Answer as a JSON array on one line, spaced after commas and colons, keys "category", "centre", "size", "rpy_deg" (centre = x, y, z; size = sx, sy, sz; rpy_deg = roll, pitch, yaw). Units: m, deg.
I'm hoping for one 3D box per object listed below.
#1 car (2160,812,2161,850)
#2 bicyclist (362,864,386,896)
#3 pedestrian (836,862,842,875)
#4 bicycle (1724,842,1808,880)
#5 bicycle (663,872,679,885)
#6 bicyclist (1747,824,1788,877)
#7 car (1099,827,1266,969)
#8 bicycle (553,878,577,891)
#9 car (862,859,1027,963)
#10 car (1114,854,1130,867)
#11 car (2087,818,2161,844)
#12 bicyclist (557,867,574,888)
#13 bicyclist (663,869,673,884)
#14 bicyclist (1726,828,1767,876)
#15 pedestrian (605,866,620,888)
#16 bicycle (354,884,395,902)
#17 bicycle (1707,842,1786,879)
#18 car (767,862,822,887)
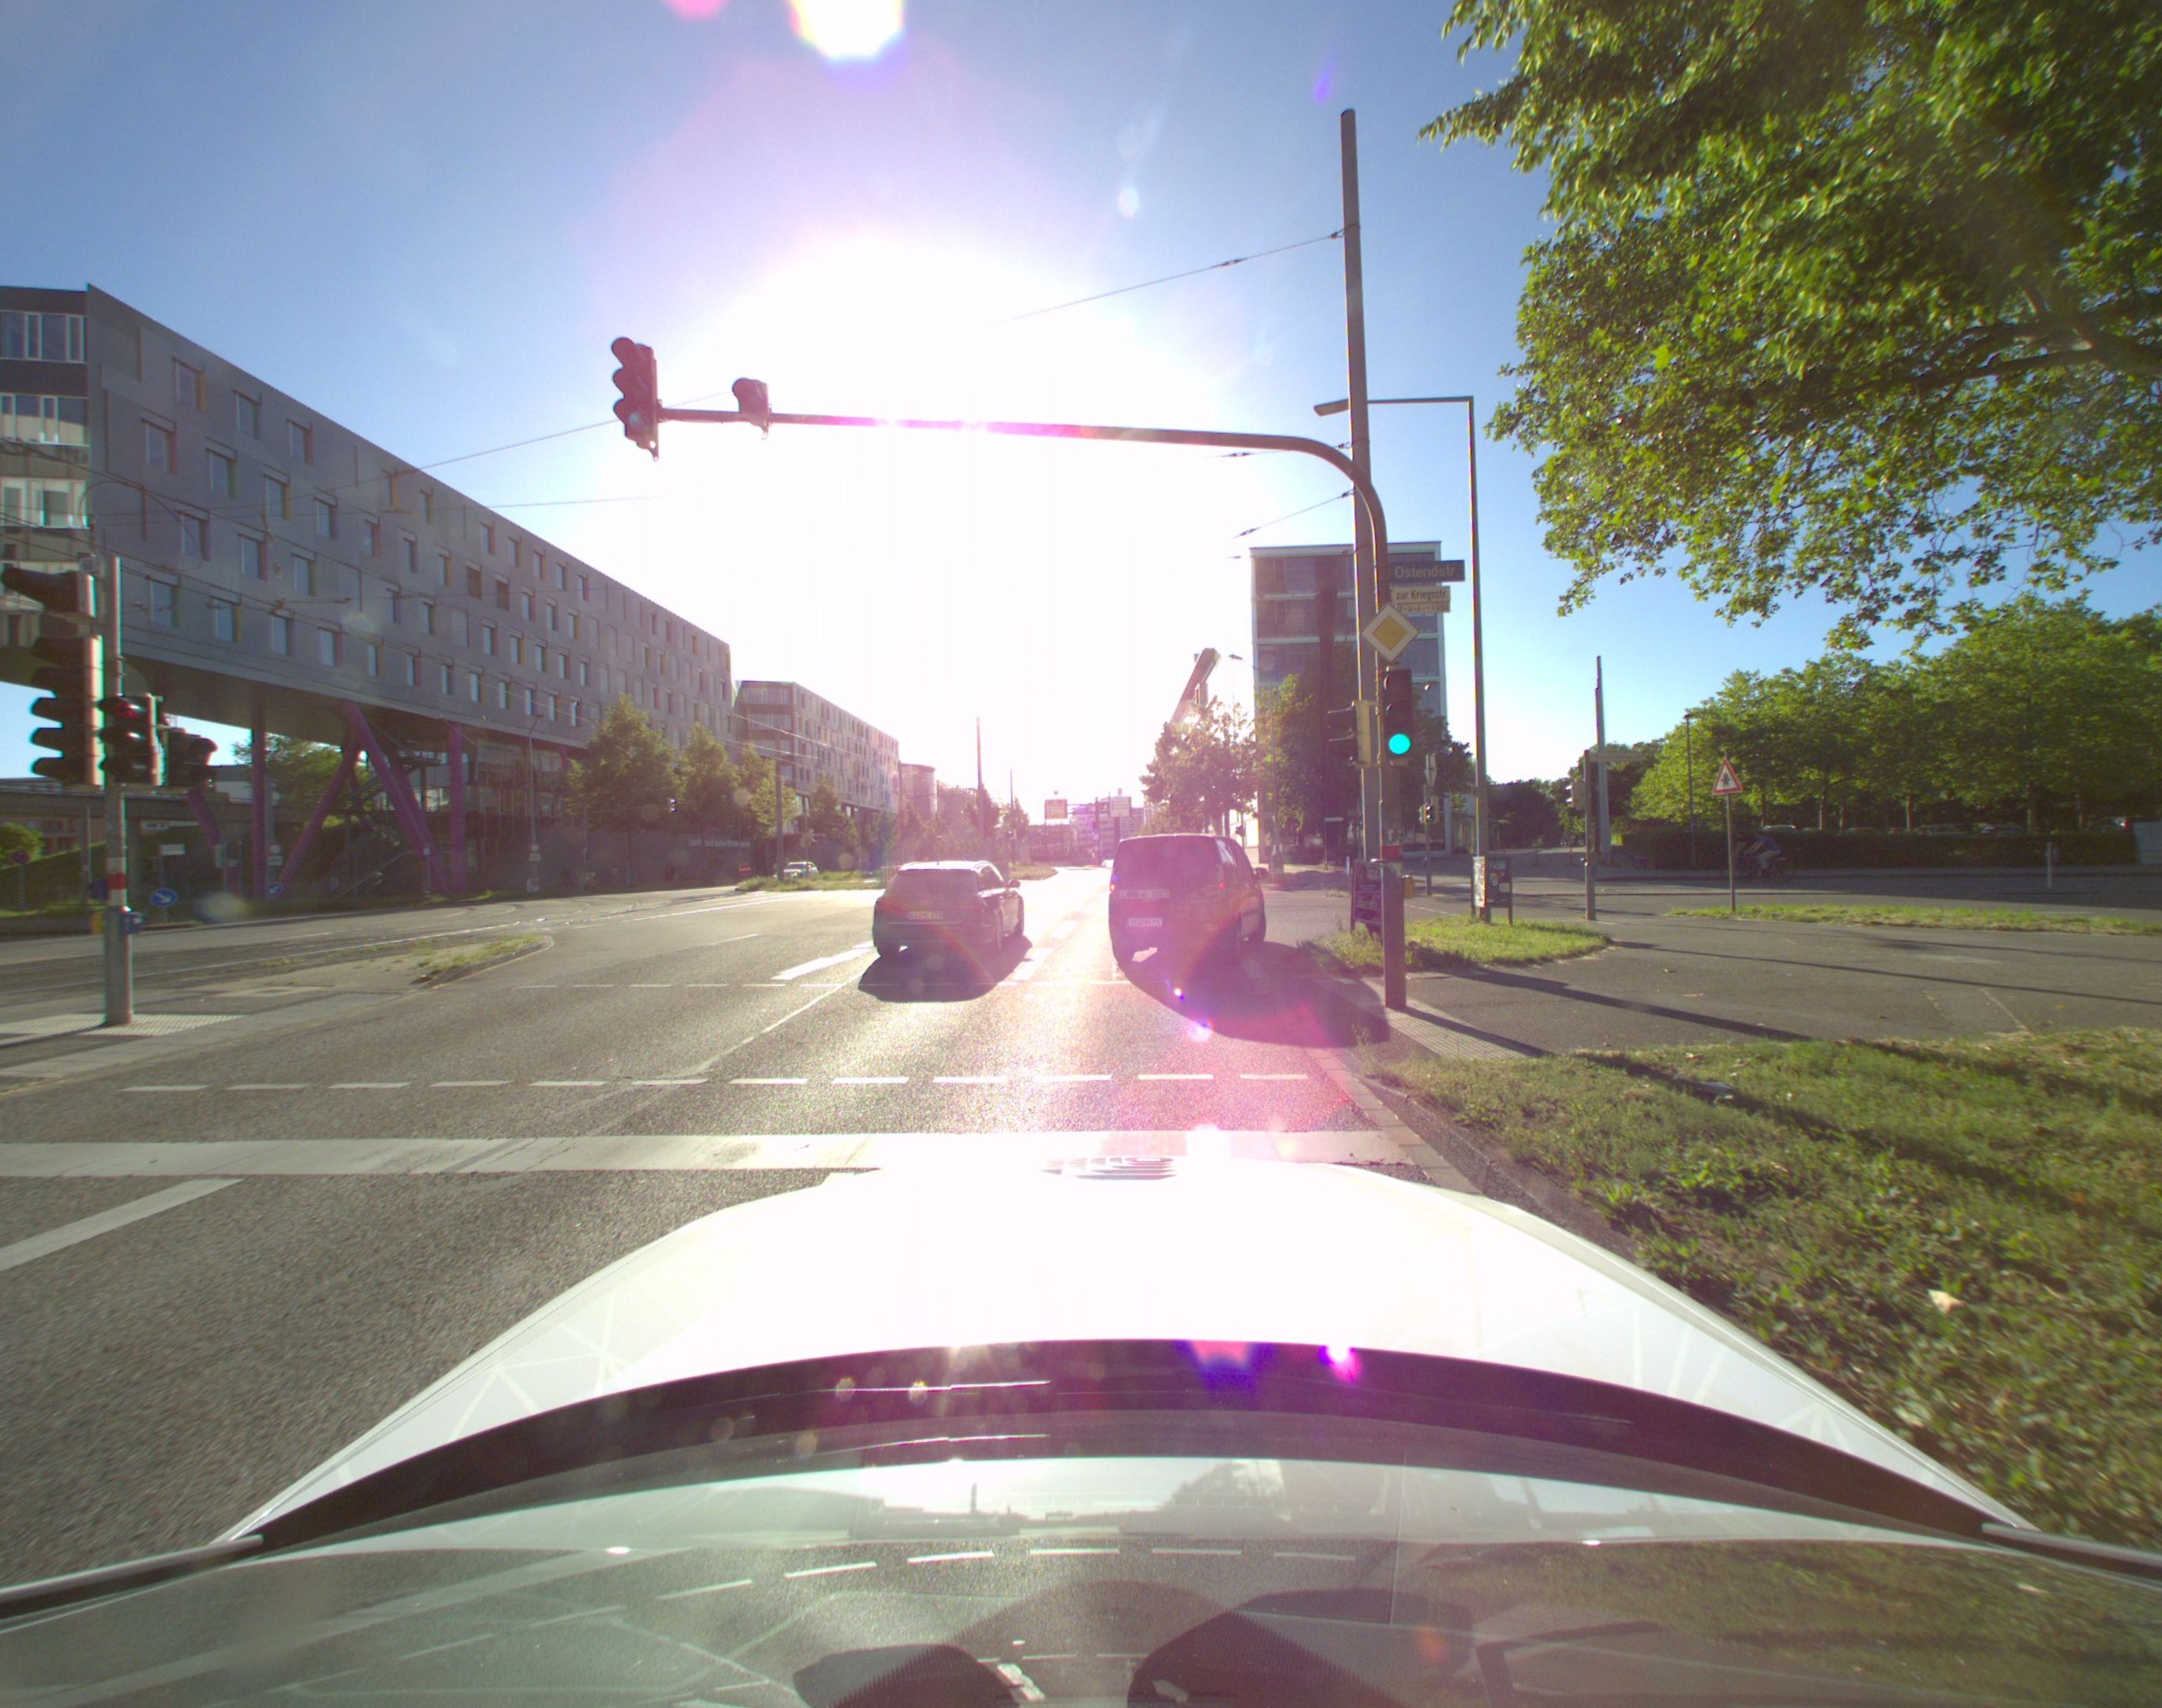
[{"category": "car", "centre": [41.559, -0.871, 29.280], "size": [1.974, 1.465, 4.025], "rpy_deg": [-1, 1, 31]}, {"category": "bicyclist", "centre": [-38.749, 1.407, 44.657], "size": [0.527, 1.726, 0.838], "rpy_deg": [-2, 0, 3]}, {"category": "pedestrian", "centre": [-39.223, 2.339, 132.057], "size": [0.733, 2.014, 0.690], "rpy_deg": [-2, -1, 2]}, {"category": "bicycle", "centre": [23.221, 0.240, 27.655], "size": [2.077, 1.203, 0.554], "rpy_deg": [-2, 0, 26]}, {"category": "bicycle", "centre": [-40.283, 2.380, 80.013], "size": [0.518, 1.172, 1.976], "rpy_deg": [-2, 0, 2]}, {"category": "bicyclist", "centre": [23.319, -0.125, 27.674], "size": [0.866, 1.737, 0.837], "rpy_deg": [-2, 0, 28]}, {"category": "car", "centre": [1.748, 0.564, 12.601], "size": [1.833, 1.814, 4.133], "rpy_deg": [0, 0, 18]}, {"category": "bicycle", "centre": [-37.722, 2.251, 59.558], "size": [0.573, 0.863, 1.693], "rpy_deg": [-2, 0, 3]}, {"category": "car", "centre": [-2.058, 0.810, 13.715], "size": [1.805, 1.427, 4.692], "rpy_deg": [0, 0, 2]}, {"category": "car", "centre": [5.132, 0.789, 102.890], "size": [1.985, 1.465, 4.003], "rpy_deg": [-1, 1, 3]}, {"category": "car", "centre": [62.287, -1.326, 48.186], "size": [1.975, 1.465, 4.024], "rpy_deg": [-1, 1, 27]}, {"category": "bicyclist", "centre": [-37.733, 1.711, 59.605], "size": [0.568, 1.435, 0.959], "rpy_deg": [-2, 0, 3]}, {"category": "bicyclist", "centre": [-40.583, 2.226, 80.023], "size": [0.556, 1.496, 0.763], "rpy_deg": [-2, 0, 2]}, {"category": "bicyclist", "centre": [23.500, -0.083, 28.773], "size": [0.867, 1.653, 0.797], "rpy_deg": [-2, 0, 17]}, {"category": "pedestrian", "centre": [-39.999, 1.955, 69.555], "size": [0.718, 1.822, 0.871], "rpy_deg": [-2, 0, 2]}, {"category": "bicycle", "centre": [-38.727, 2.112, 44.668], "size": [0.525, 0.863, 1.835], "rpy_deg": [-2, 0, 3]}, {"category": "bicycle", "centre": [23.492, 0.230, 28.785], "size": [2.081, 1.203, 0.553], "rpy_deg": [-2, 0, 16]}, {"category": "car", "centre": [-19.886, 1.399, 56.707], "size": [1.987, 1.562, 4.872], "rpy_deg": [-2, 0, 1]}]
